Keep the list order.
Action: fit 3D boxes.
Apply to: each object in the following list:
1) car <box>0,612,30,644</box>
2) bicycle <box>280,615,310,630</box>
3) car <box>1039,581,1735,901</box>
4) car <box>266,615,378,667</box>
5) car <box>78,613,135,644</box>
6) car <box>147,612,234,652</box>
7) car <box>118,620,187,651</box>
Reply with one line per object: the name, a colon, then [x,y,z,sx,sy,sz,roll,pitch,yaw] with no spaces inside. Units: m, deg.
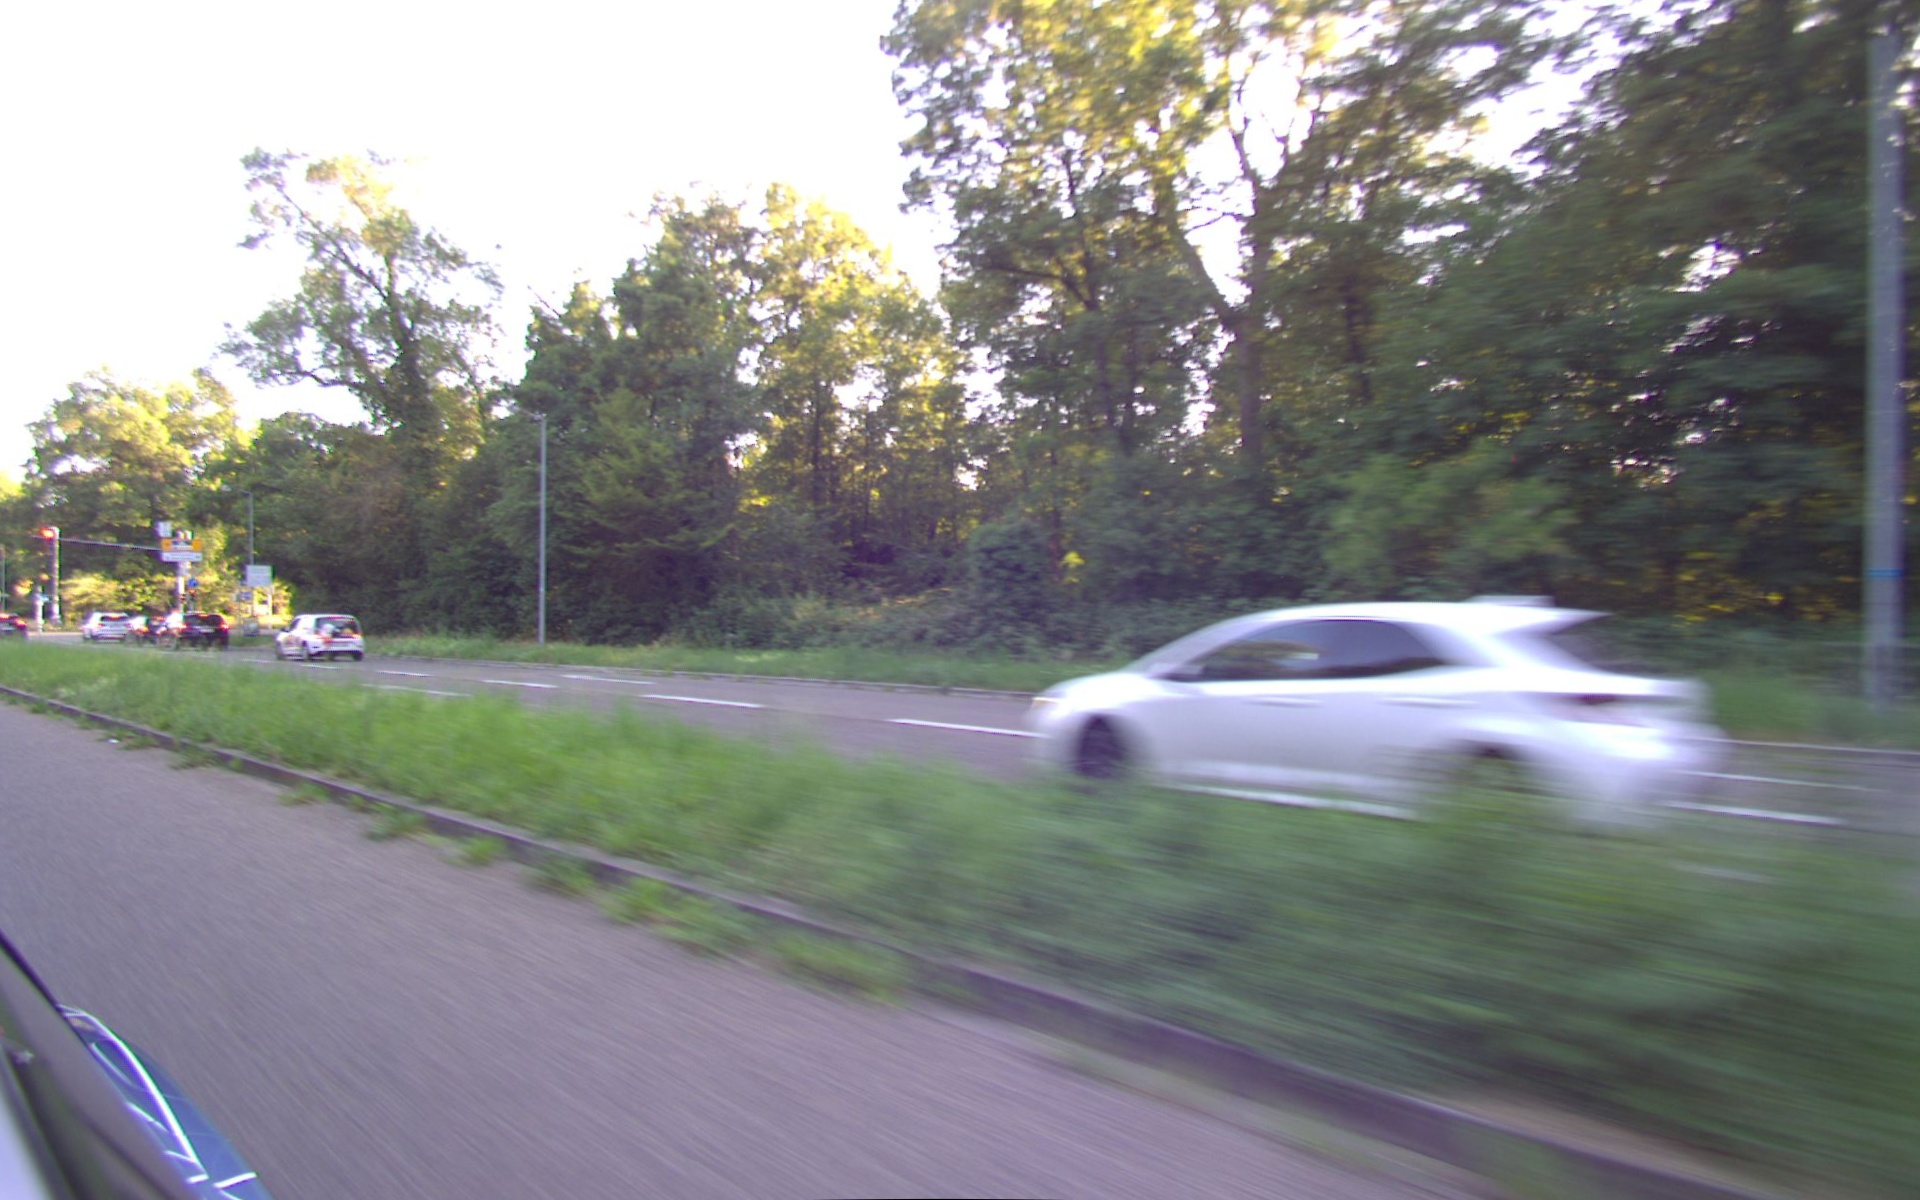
car: [-51.235,1.483,53.980,4.448,1.640,1.795,-1,-2,40]
bicycle: [-48.232,1.630,73.398,0.563,1.022,1.784,-1,-1,29]
car: [2.640,0.651,6.831,3.939,1.518,1.815,1,0,44]
car: [-20.591,1.272,32.618,3.807,1.469,1.974,1,0,39]
car: [-47.105,1.591,55.811,4.641,1.626,1.801,-1,-3,43]
car: [-33.283,1.362,43.735,4.648,1.640,1.973,-1,-2,40]
car: [-39.551,1.720,49.530,4.229,1.491,1.804,-1,-2,40]
